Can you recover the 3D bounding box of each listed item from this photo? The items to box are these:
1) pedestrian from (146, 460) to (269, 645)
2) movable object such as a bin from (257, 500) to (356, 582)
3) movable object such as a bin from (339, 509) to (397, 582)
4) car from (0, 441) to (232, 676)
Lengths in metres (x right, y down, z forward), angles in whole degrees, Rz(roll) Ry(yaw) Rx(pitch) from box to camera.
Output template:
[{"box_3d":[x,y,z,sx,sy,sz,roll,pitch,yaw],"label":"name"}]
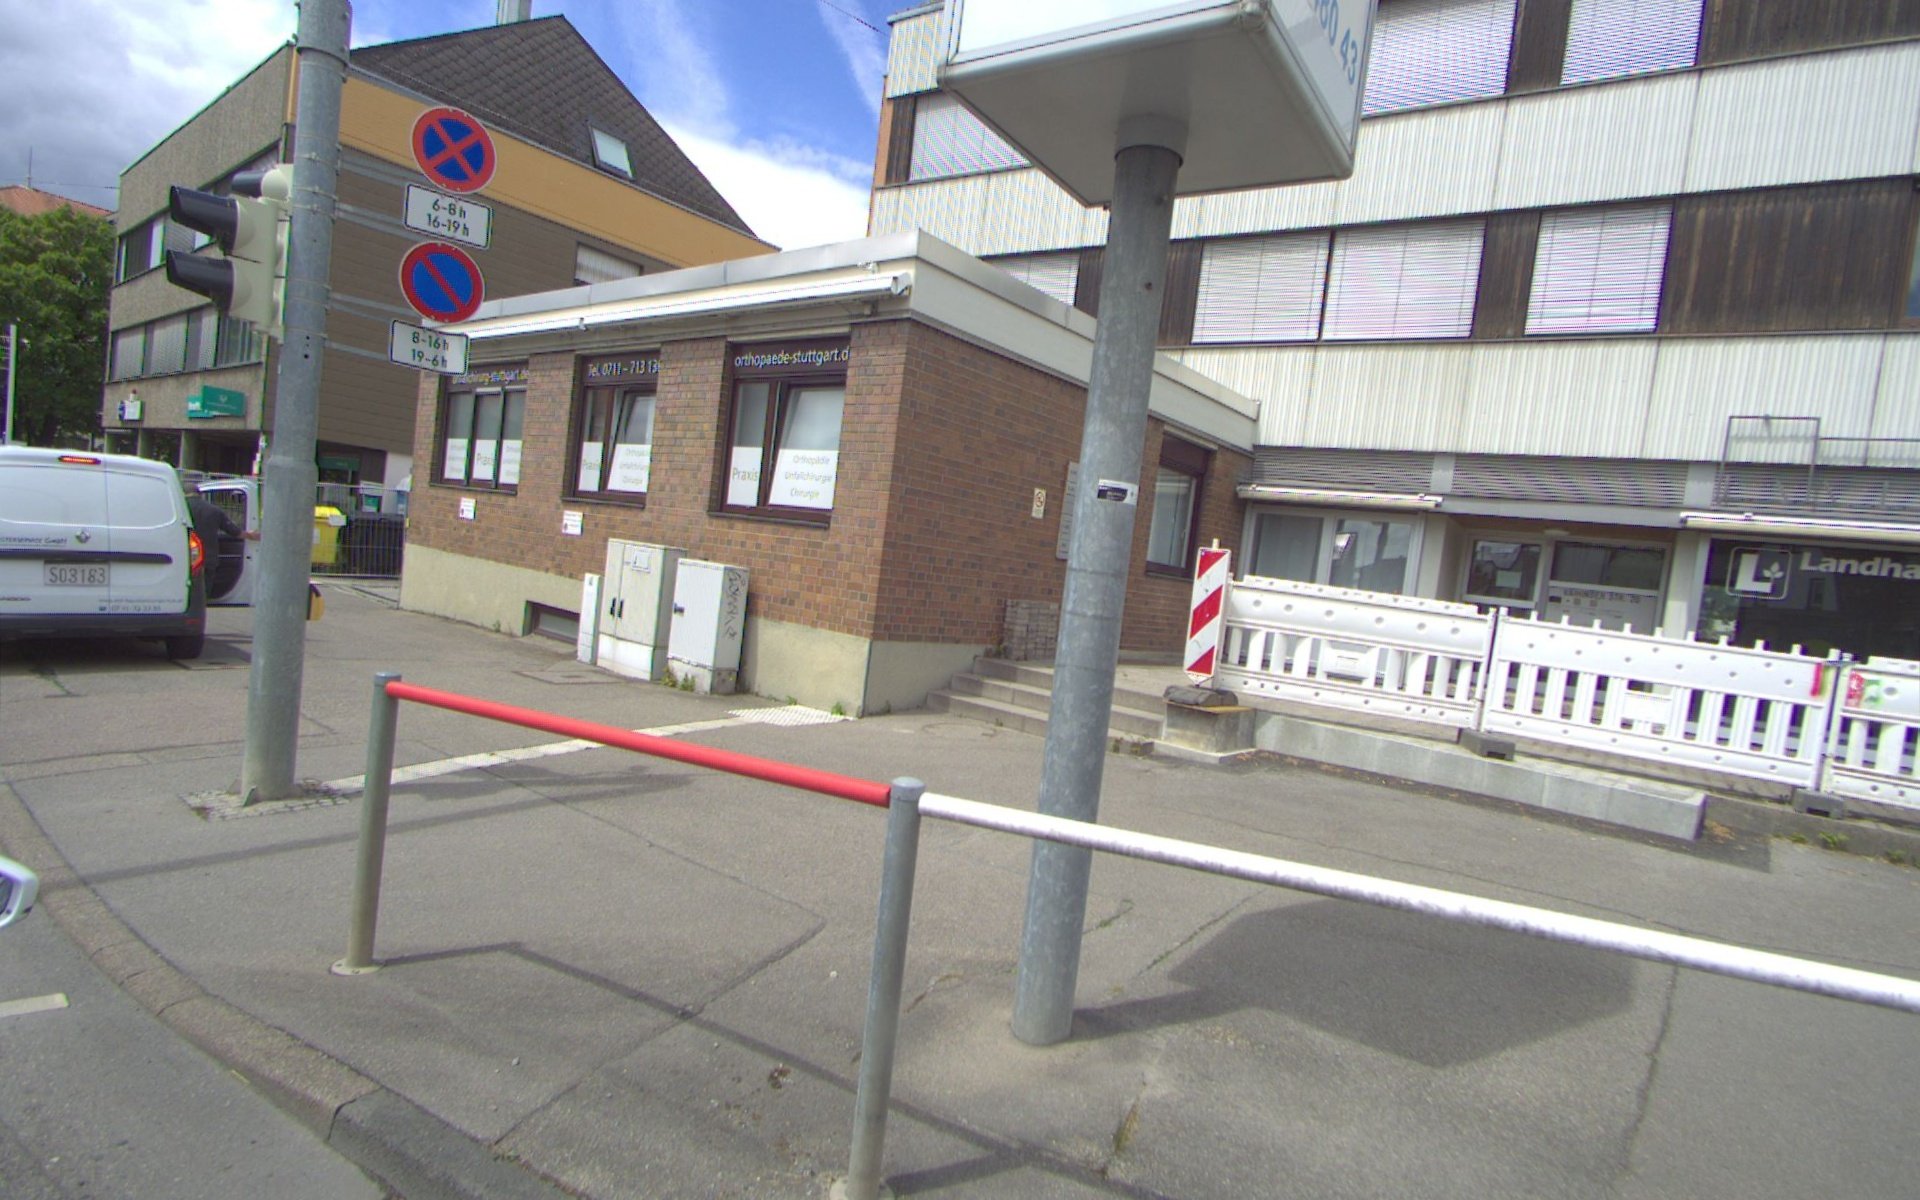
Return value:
[{"box_3d":[-7.812,-0.480,10.451,0.641,1.827,0.841,7,4,40],"label":"pedestrian"},{"box_3d":[-13.862,-1.241,21.352,1.061,1.512,1.478,10,4,43],"label":"movable object such as a bin"},{"box_3d":[-13.104,-1.217,22.264,1.004,1.459,0.777,10,5,43],"label":"movable object such as a bin"},{"box_3d":[-8.728,-0.499,9.654,4.427,1.820,1.905,7,5,41],"label":"car"}]
